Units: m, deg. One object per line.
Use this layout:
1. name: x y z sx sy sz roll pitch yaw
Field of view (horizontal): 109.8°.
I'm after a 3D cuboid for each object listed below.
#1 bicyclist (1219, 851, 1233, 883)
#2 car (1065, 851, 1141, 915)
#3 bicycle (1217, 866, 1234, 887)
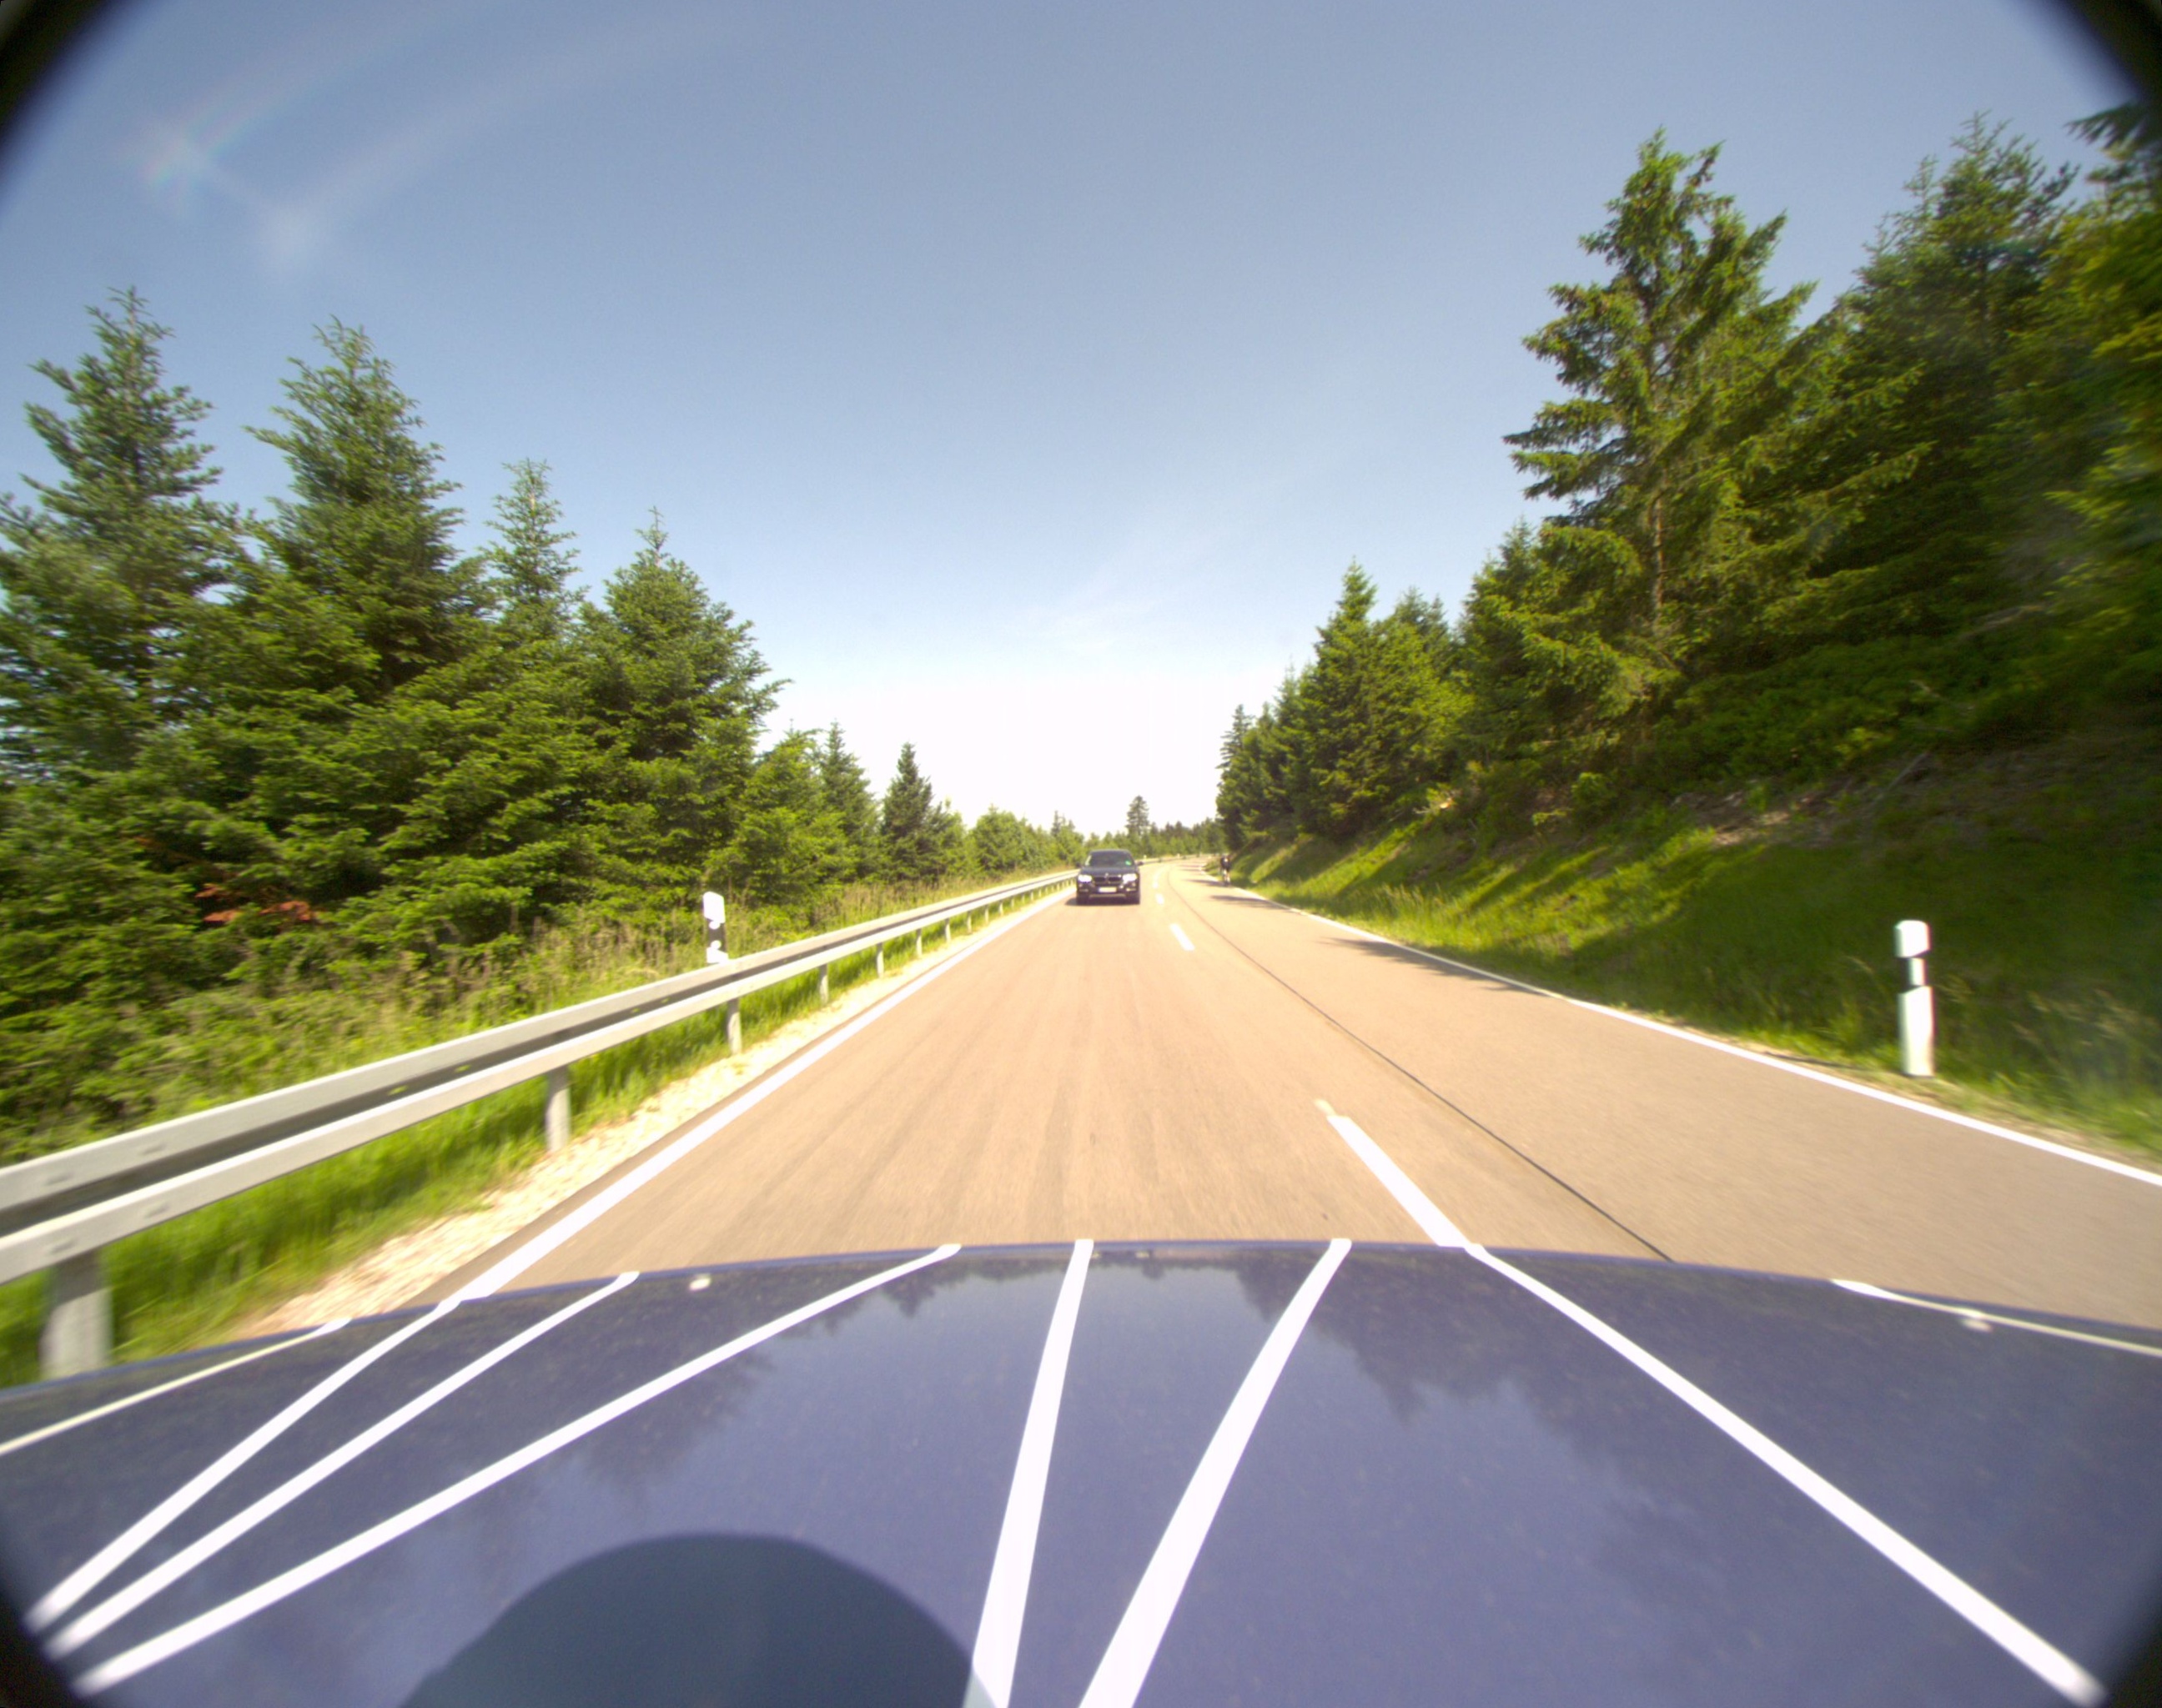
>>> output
1. bicyclist: 6.772 0.606 35.535 0.543 1.442 0.984 0 1 5
2. car: 0.829 0.761 23.189 1.998 1.677 5.938 -1 1 5
3. bicycle: 6.759 1.032 35.515 0.554 0.881 2.063 0 0 5
